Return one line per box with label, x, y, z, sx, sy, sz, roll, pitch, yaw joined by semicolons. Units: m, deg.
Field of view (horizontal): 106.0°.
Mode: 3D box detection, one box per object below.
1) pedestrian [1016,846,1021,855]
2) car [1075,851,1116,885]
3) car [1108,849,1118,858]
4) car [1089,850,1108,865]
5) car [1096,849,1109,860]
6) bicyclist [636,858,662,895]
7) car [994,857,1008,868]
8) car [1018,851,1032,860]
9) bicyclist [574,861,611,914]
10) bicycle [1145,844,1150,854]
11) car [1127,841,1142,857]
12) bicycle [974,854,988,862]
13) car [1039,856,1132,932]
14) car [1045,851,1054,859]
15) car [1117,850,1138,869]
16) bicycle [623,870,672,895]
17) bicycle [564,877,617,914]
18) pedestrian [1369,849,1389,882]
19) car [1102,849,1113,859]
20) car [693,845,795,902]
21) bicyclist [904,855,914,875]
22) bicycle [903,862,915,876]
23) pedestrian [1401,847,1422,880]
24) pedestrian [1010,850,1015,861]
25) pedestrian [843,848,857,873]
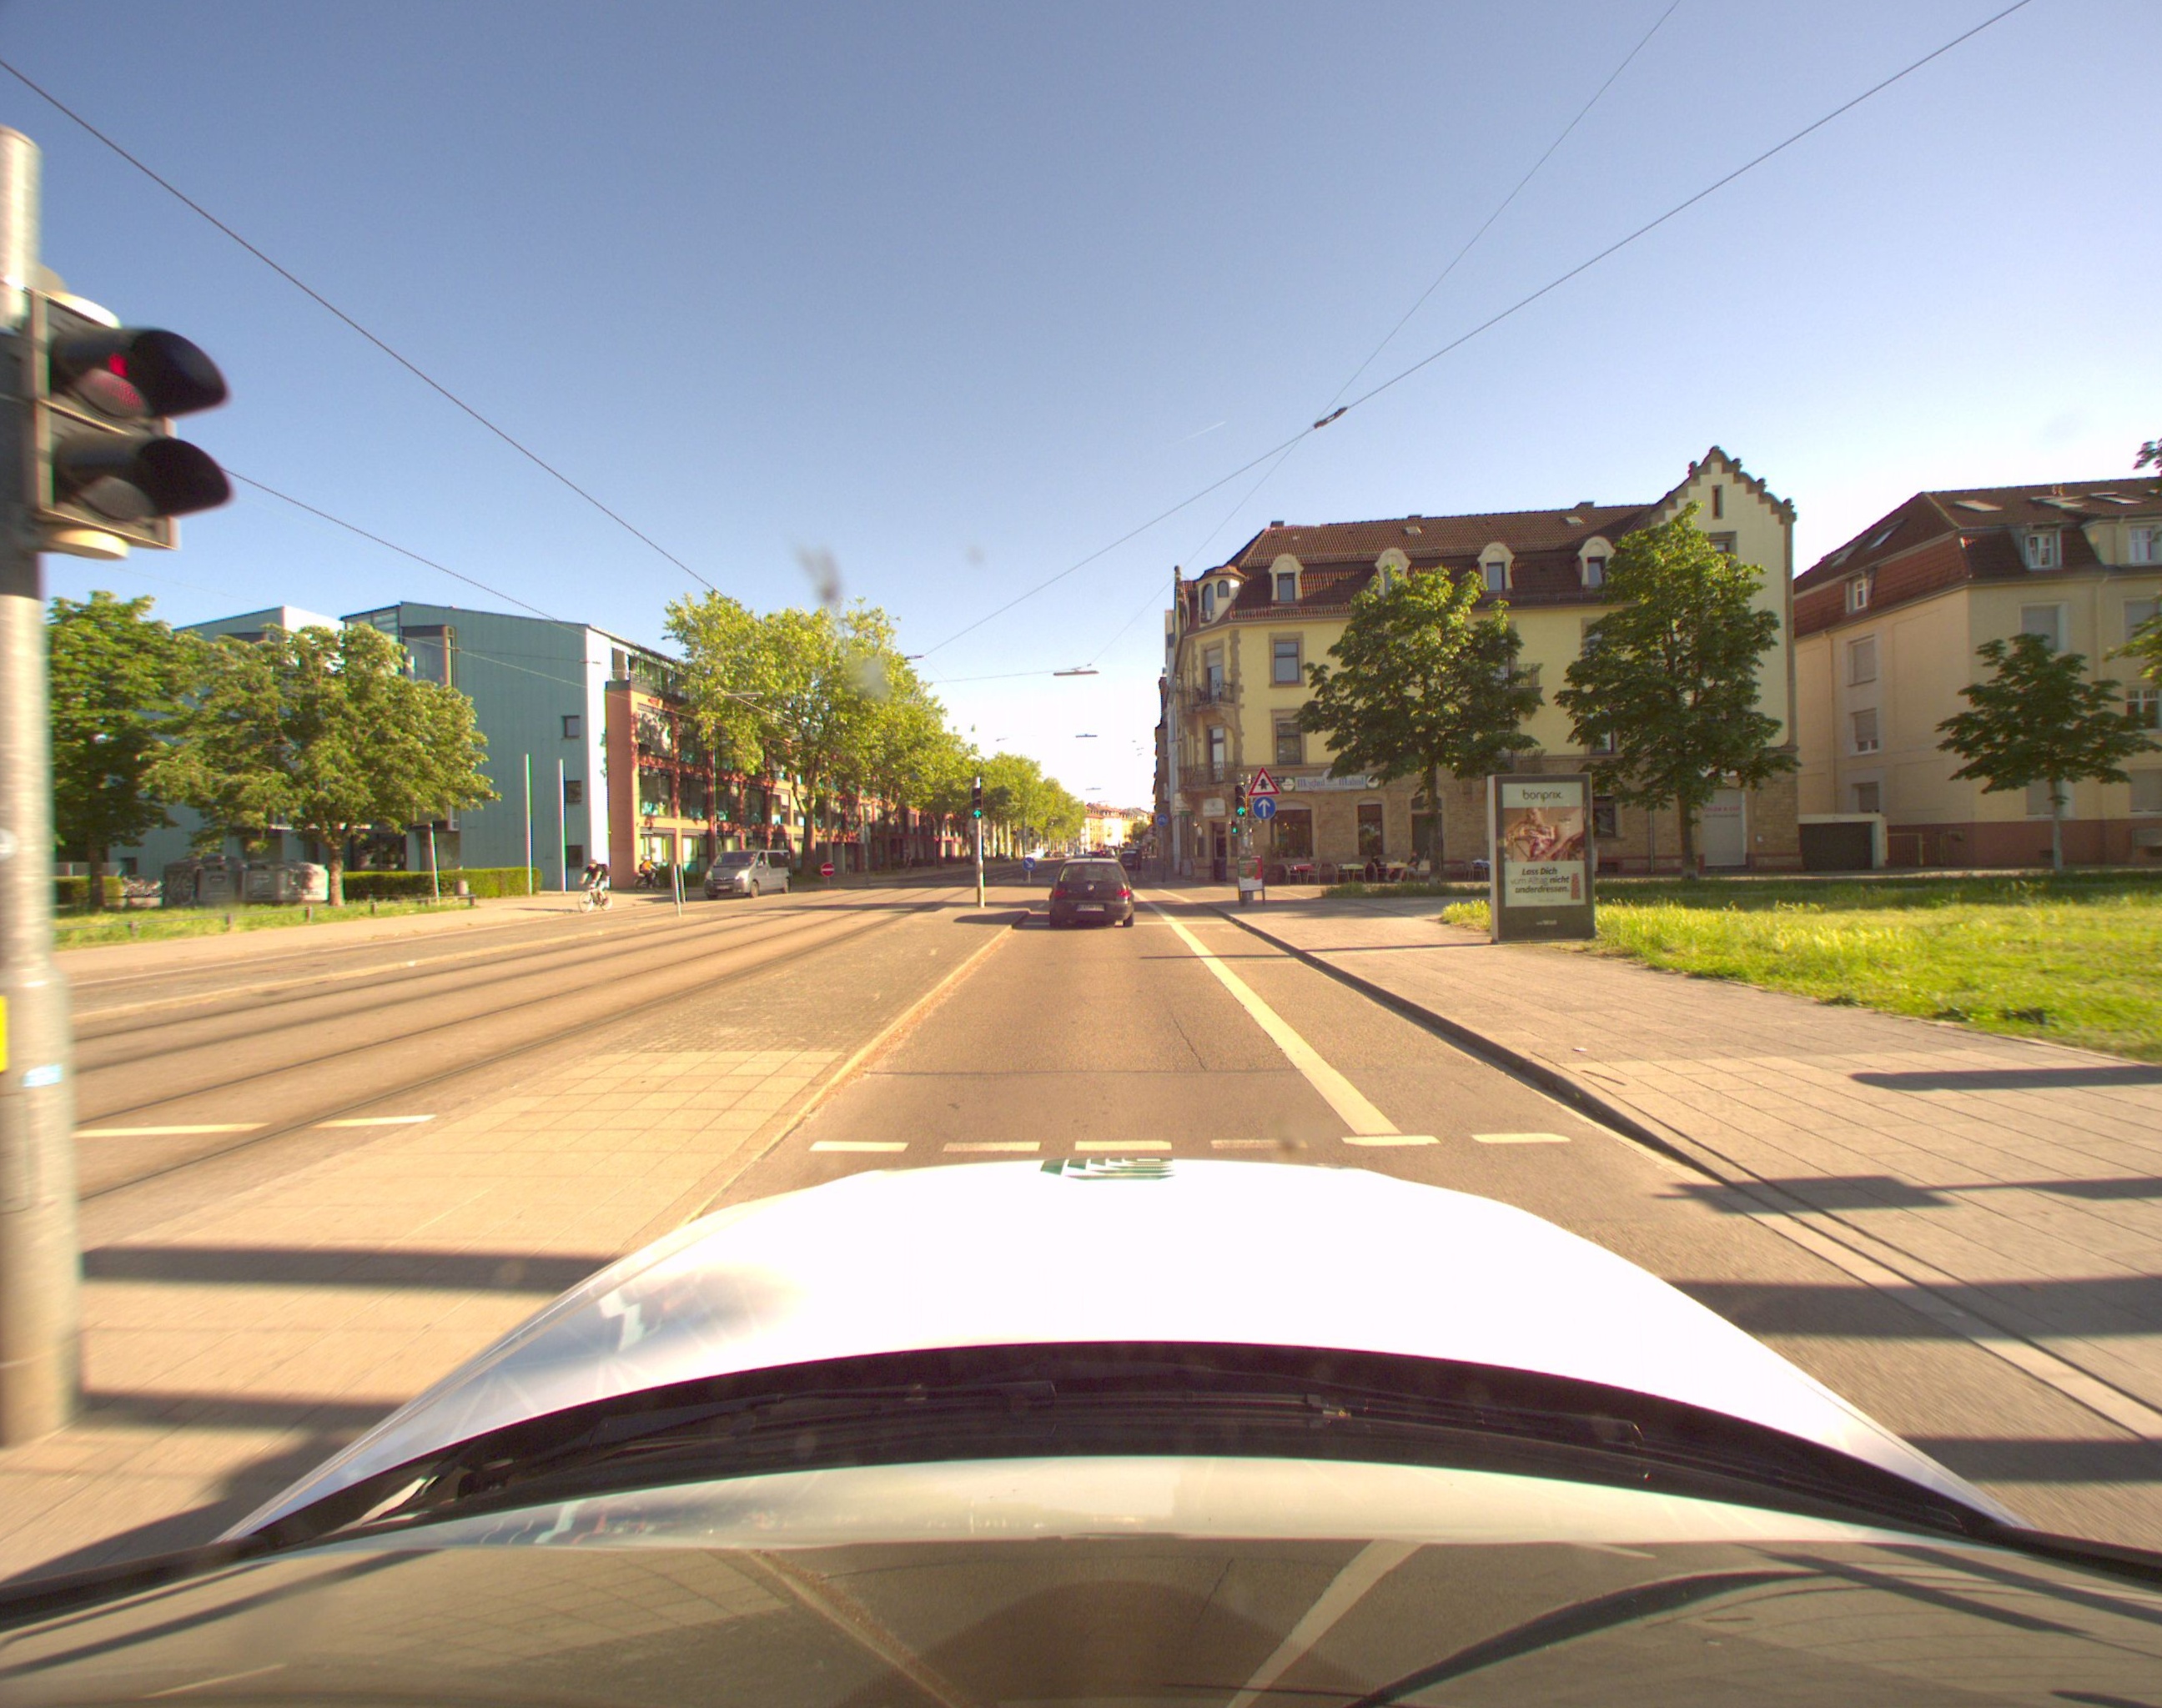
pedestrian;-12.887;-0.775;167.775;0.793;1.820;0.671;0;0;4
car;0.781;0.673;40.813;1.740;1.537;3.897;-2;1;5
car;6.005;-0.121;152.068;1.628;1.472;3.734;-1;0;4
car;1.780;0.343;81.400;1.628;1.472;3.734;-1;0;4
car;2.979;0.008;112.064;1.628;1.472;3.734;-1;0;4
bicyclist;-20.534;1.054;38.708;0.599;1.692;0.938;1;1;29
car;-11.980;1.310;122.458;1.500;1.454;3.467;-2;-2;4
car;-10.093;0.289;146.624;2.003;1.572;4.697;0;1;3
bicyclist;-16.403;1.121;27.344;0.585;1.710;0.902;-3;0;1
bicycle;7.770;-0.646;95.774;0.512;1.139;2.261;-3;1;4
car;6.453;-0.568;98.424;1.745;1.855;4.821;-1;0;4
bicycle;-15.819;0.670;128.936;1.999;1.278;0.665;0;0;4
car;0.197;0.773;17.629;1.741;1.375;4.003;-2;1;3
car;-7.039;0.230;180.933;1.563;1.533;3.576;-1;-1;4
car;3.848;0.416;67.361;1.648;1.482;4.004;-1;0;4
bicycle;-20.560;1.335;38.658;0.625;1.129;2.048;1;1;29
bicycle;-16.383;1.370;27.260;0.584;1.113;1.827;-3;1;2
pedestrian;12.453;0.463;34.047;0.635;1.360;0.703;0;0;5
car;4.326;-0.010;132.077;1.628;1.472;3.734;-2;0;4
car;-13.903;0.708;34.041;2.014;2.013;5.249;-3;1;-1
bicyclist;-14.137;0.908;66.975;0.644;1.611;0.780;0;0;-4
bicycle;-14.138;1.213;67.018;0.643;1.042;1.922;0;1;-4
pedestrian;13.775;0.399;33.988;0.635;1.360;0.703;0;0;5
pedestrian;-11.878;0.186;140.270;0.785;1.870;0.668;0;0;-11
pedestrian;-18.862;0.552;66.456;0.909;2.013;0.780;0;0;-5
